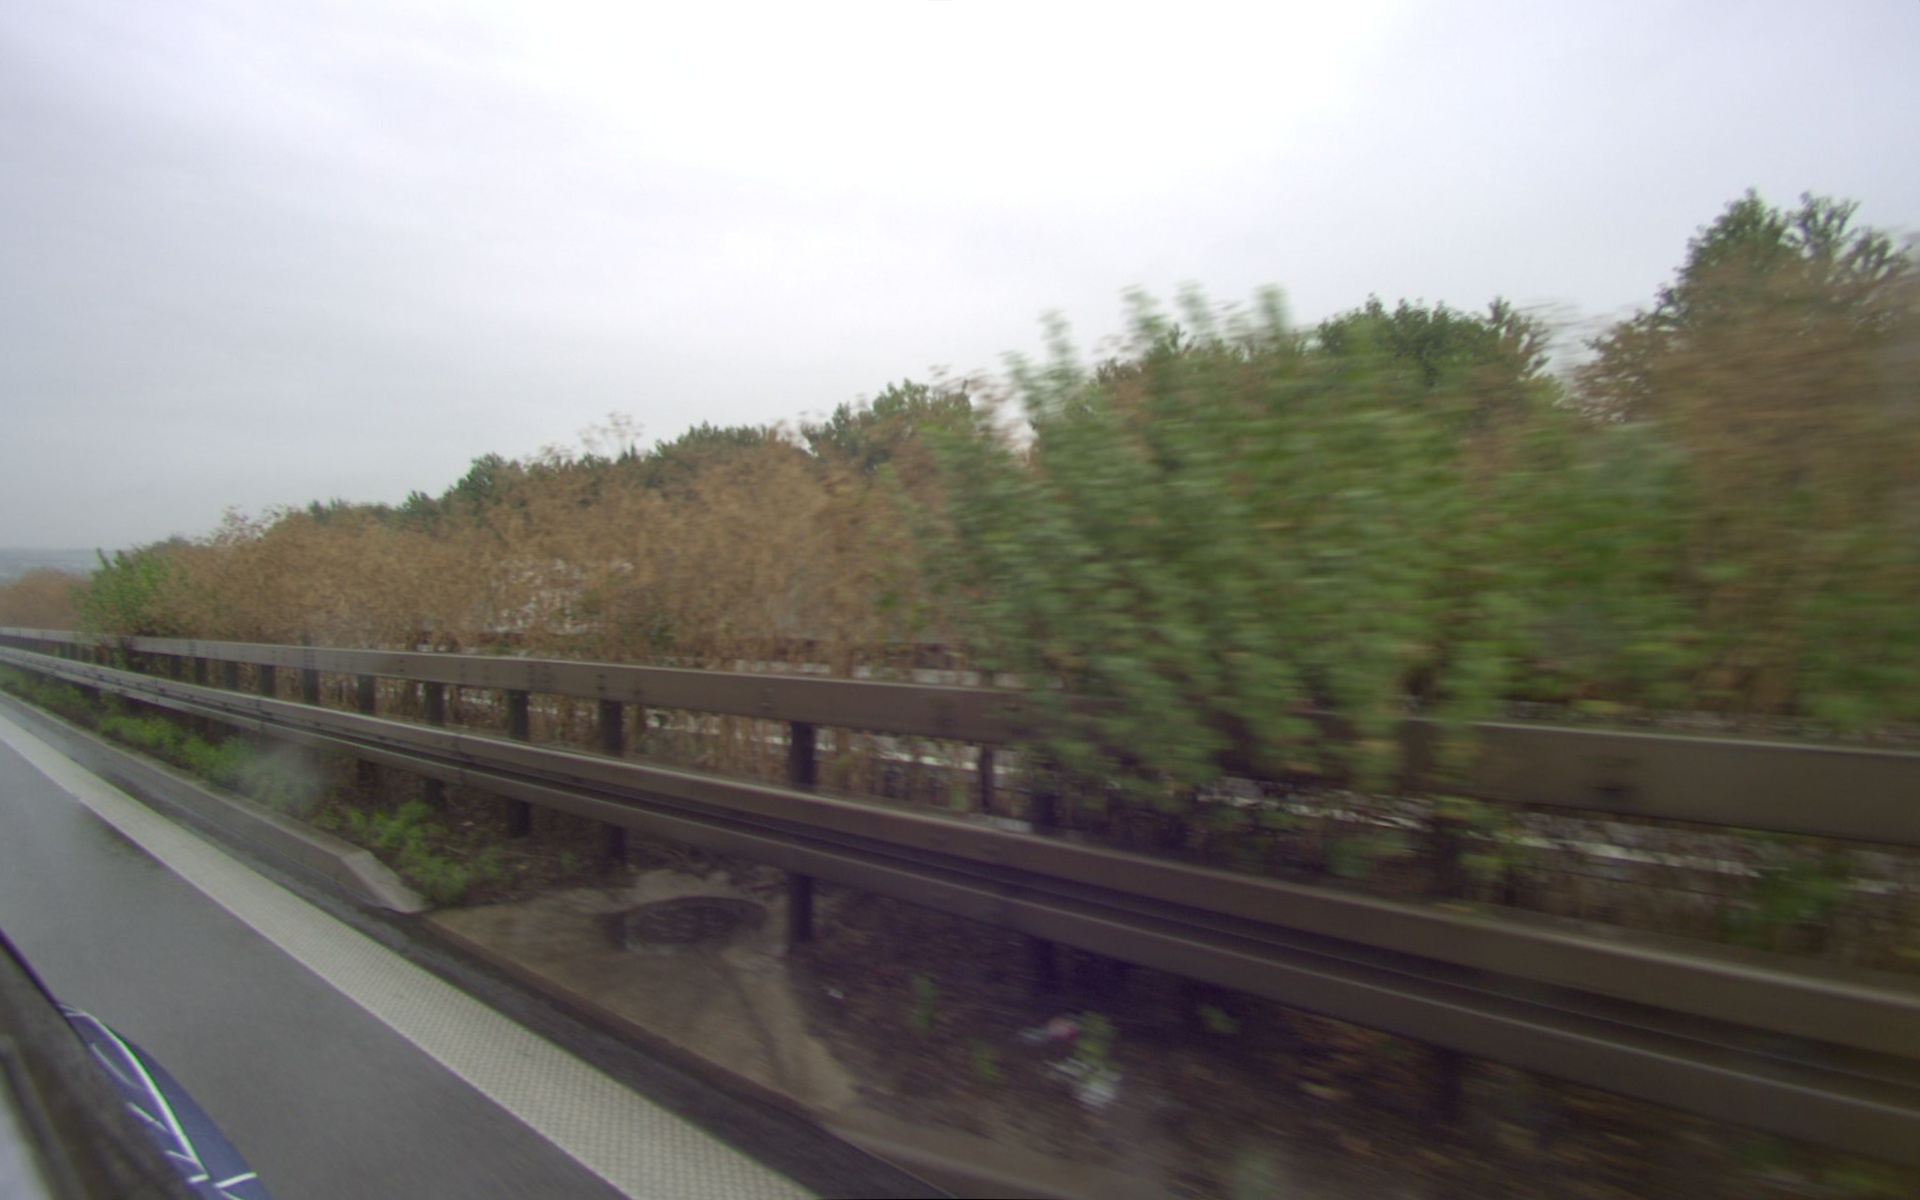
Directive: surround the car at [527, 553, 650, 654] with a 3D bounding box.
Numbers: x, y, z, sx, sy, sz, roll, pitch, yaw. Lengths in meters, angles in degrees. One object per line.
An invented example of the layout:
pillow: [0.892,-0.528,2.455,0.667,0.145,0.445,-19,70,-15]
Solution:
car: [-12.245,0.126,33.223,4.417,3.078,1.972,-1,-1,42]
